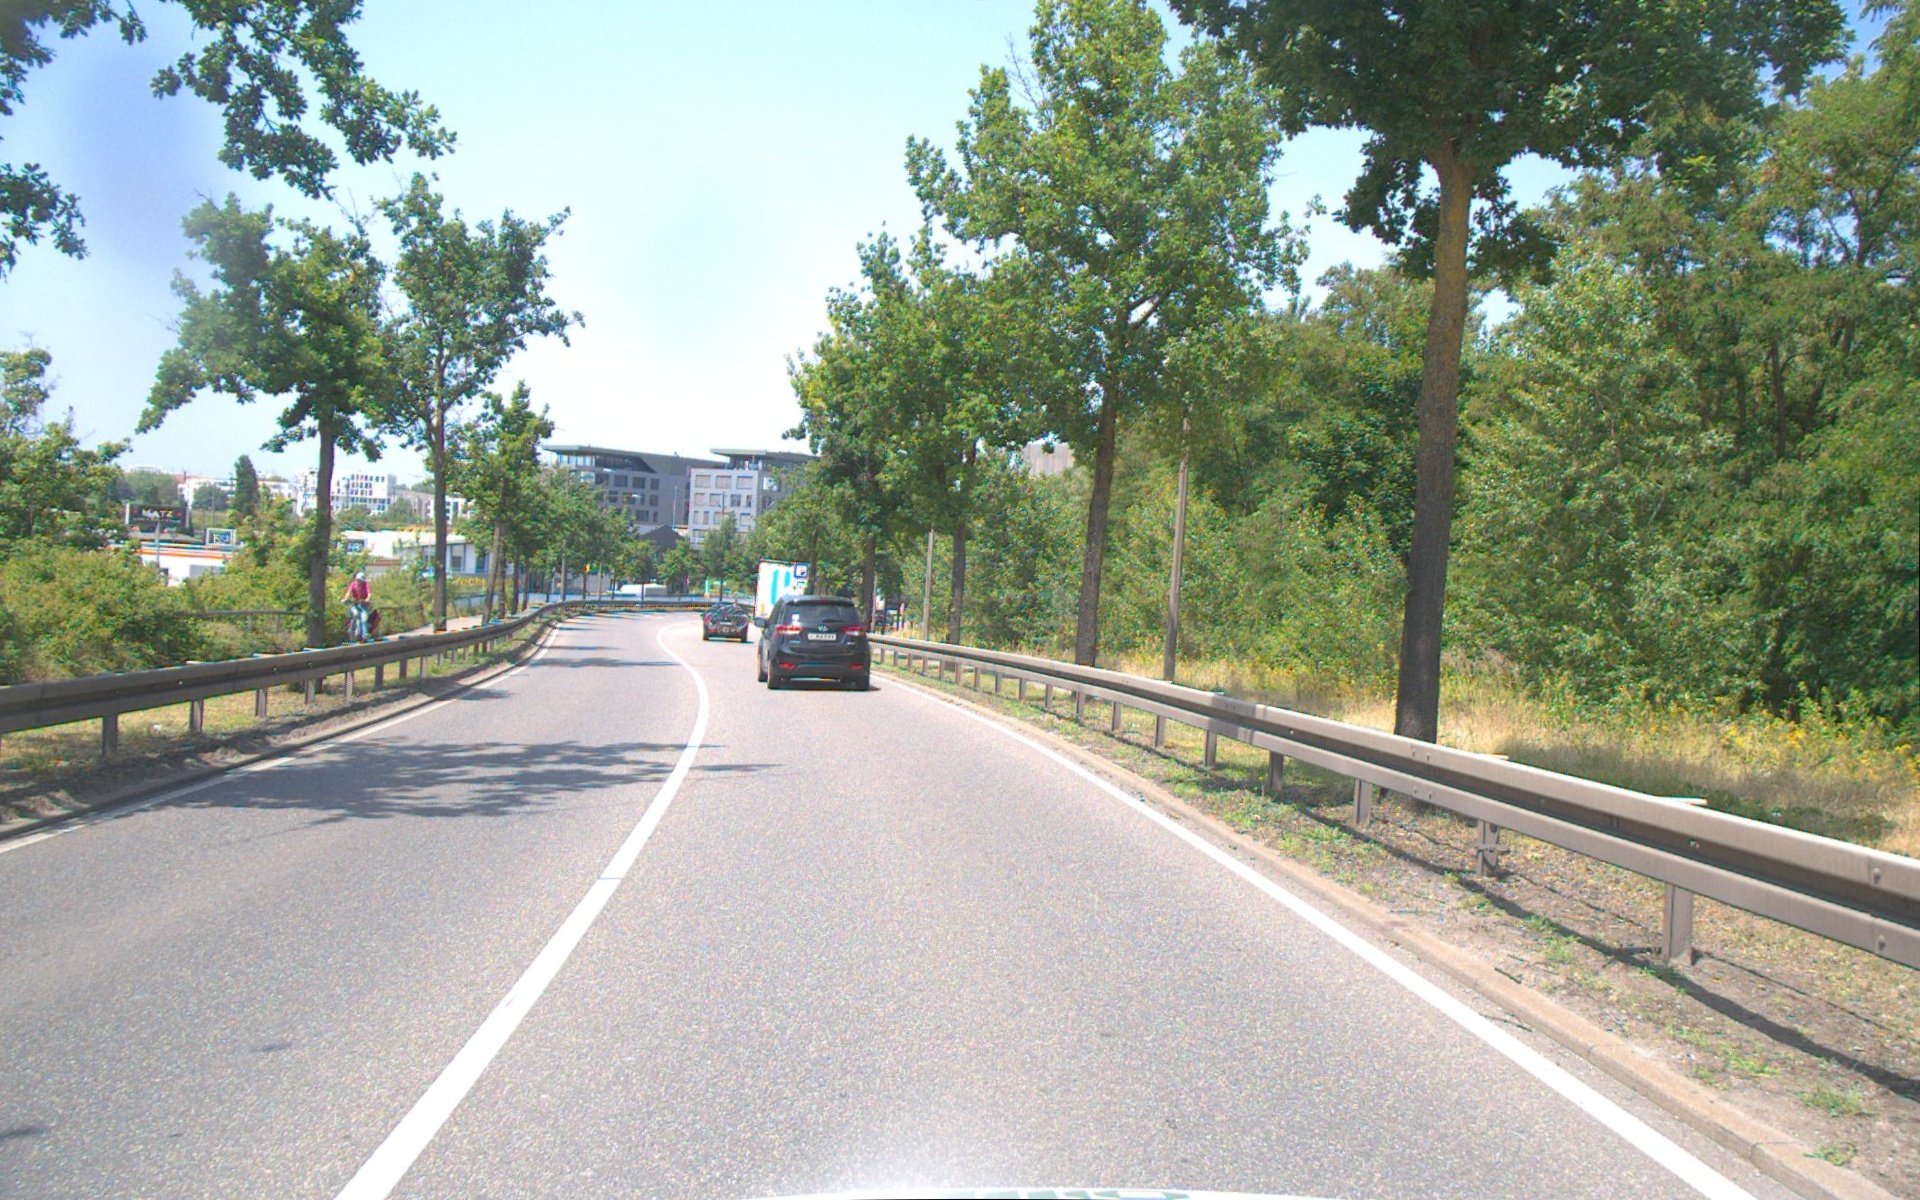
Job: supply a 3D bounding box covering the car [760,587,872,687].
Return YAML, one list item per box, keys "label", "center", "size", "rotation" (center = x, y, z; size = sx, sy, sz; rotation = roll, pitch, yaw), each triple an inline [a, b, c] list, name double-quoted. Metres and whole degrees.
- label: "car"
  center: [-2.632, 0.643, 29.485]
  size: [1.734, 1.627, 4.069]
  rotation: [1, -1, -8]

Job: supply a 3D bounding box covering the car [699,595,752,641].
- label: "car"
  center: [-9.180, 0.680, 64.958]
  size: [1.920, 1.662, 4.272]
  rotation: [2, -1, -8]

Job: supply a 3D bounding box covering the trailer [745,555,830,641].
- label: "trailer"
  center: [-9.786, -0.215, 95.703]
  size: [3.015, 4.444, 14.776]
  rotation: [3, 1, 1]

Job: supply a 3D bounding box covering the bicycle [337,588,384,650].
- label: "bicycle"
  center: [-13.127, 0.409, 36.264]
  size: [0.722, 1.304, 2.038]
  rotation: [2, -1, -14]

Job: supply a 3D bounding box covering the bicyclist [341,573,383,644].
- label: "bicyclist"
  center: [-13.113, 0.190, 36.272]
  size: [0.729, 1.515, 0.754]
  rotation: [2, -1, -15]
